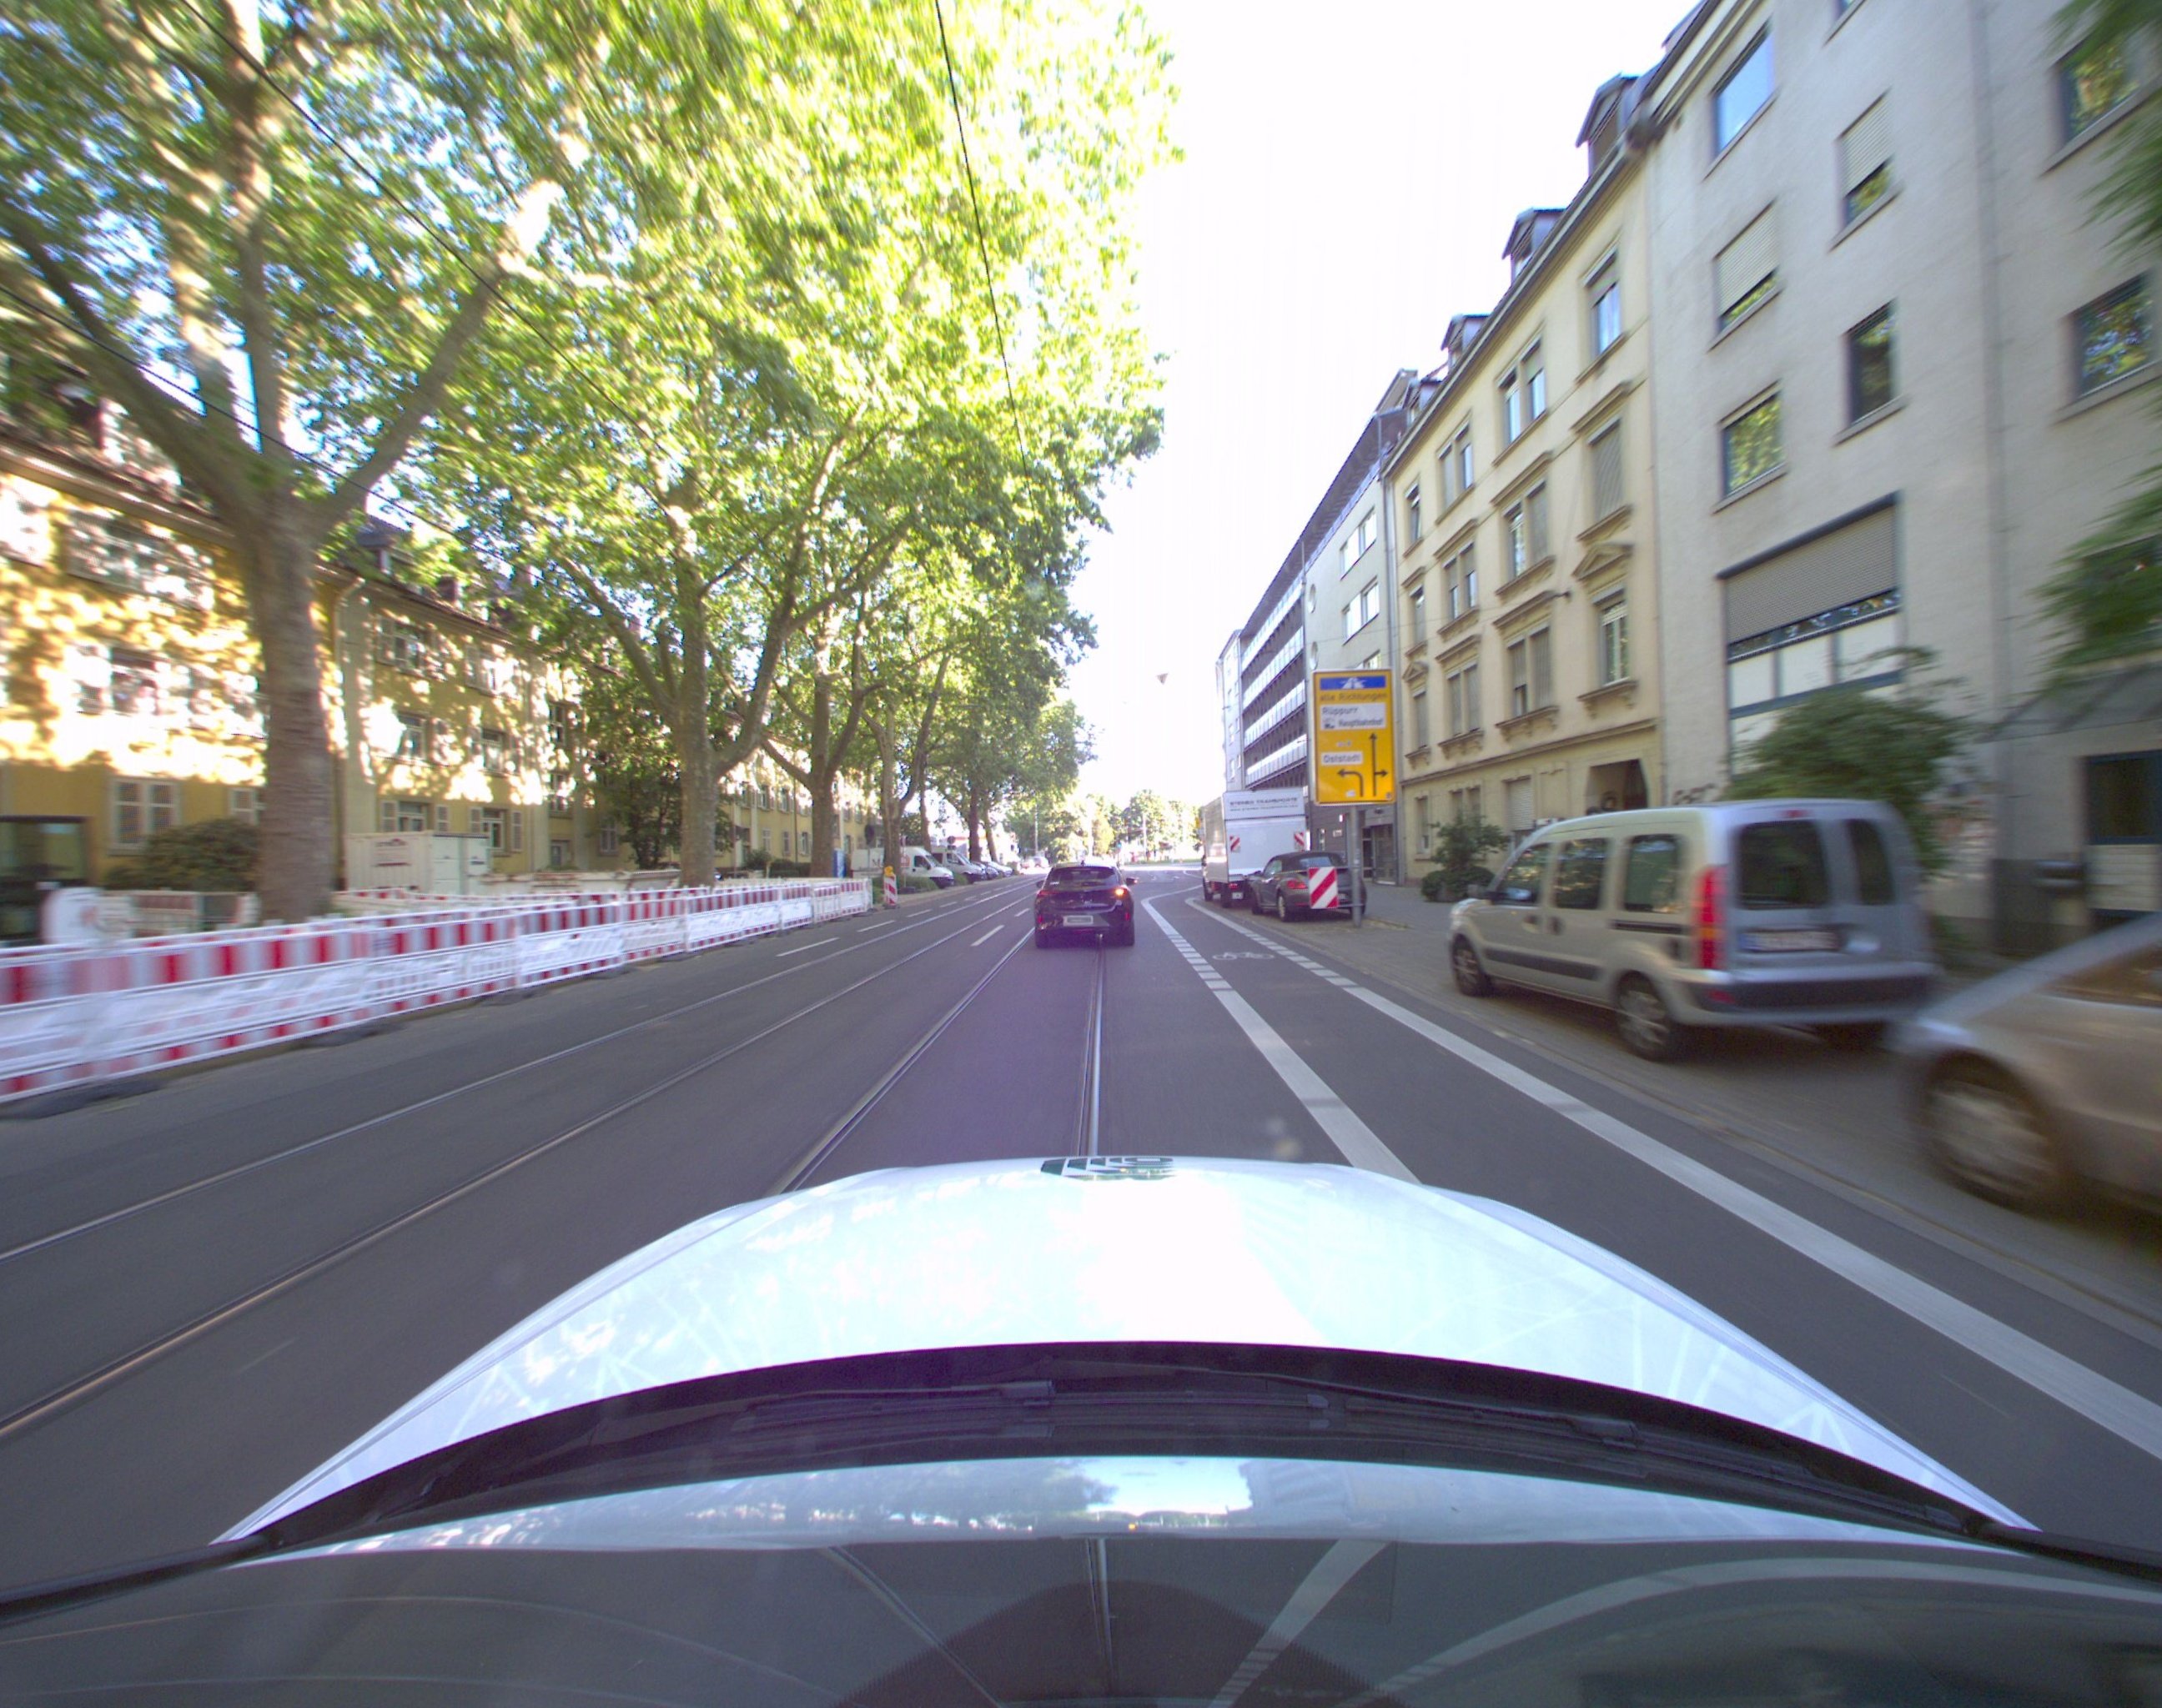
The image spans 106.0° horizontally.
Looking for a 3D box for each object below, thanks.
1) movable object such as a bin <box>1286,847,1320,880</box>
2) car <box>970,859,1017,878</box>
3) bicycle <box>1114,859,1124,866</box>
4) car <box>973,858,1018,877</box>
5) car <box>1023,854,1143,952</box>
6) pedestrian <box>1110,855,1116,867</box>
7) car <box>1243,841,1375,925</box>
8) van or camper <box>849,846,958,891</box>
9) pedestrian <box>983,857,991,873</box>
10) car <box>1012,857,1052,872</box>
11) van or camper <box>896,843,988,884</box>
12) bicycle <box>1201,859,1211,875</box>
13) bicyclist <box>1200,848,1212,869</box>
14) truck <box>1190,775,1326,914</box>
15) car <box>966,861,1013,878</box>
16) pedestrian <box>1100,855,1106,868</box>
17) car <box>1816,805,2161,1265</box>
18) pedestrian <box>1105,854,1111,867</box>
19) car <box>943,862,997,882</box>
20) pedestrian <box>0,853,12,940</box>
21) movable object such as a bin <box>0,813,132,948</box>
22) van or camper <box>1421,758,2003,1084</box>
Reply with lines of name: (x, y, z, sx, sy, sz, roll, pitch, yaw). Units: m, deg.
movable object such as a bin: (10.541, 0.440, 38.744, 1.182, 1.484, 1.596, -4, -1, 2)
car: (-8.270, 1.331, 77.294, 4.157, 1.671, 1.963, -2, 0, -2)
bicycle: (5.355, 1.153, 114.635, 0.782, 0.992, 2.254, -1, -1, 18)
car: (-8.391, 1.301, 79.818, 4.157, 1.671, 1.963, -2, 0, -2)
car: (0.185, 0.782, 14.799, 1.772, 1.496, 4.006, -1, 0, 6)
pedestrian: (4.809, 1.085, 122.843, 0.610, 1.853, 0.587, -1, -1, 35)
car: (4.982, 0.585, 18.378, 1.725, 1.557, 4.151, -4, 0, 0)
van or camper: (-9.895, 0.822, 45.589, 5.475, 2.379, 2.272, -1, -1, 5)
pedestrian: (-13.476, 1.575, 116.564, 0.824, 2.221, 0.890, 0, -1, -33)
car: (-6.385, 1.378, 105.563, 4.678, 1.695, 2.013, -4, 0, 31)
van or camper: (-9.339, 0.659, 54.918, 5.702, 2.644, 2.270, -1, -1, 2)
bicycle: (8.463, 0.882, 55.063, 0.504, 1.067, 1.570, -2, 0, 14)
bicyclist: (8.431, 0.300, 55.083, 0.701, 1.435, 0.705, -2, -1, 13)
truck: (4.948, -0.232, 24.224, 2.528, 3.338, 7.199, -4, 0, 2)
car: (-8.338, 1.424, 74.469, 3.971, 1.515, 1.651, -1, -1, 2)
pedestrian: (3.292, 1.096, 121.915, 0.610, 1.853, 0.587, -1, -1, 39)
car: (4.506, 0.593, 2.300, 1.653, 1.580, 3.591, -3, 0, 2)
pedestrian: (4.059, 1.041, 122.146, 0.651, 1.932, 0.613, -1, -1, 33)
car: (-8.811, 1.446, 64.557, 3.971, 1.515, 1.651, -1, -1, 2)
pedestrian: (-21.053, 0.827, 15.575, 0.663, 1.656, 0.677, -2, -1, 34)
movable object such as a bin: (-13.736, 0.336, 10.523, 1.093, 1.645, 1.560, -1, -1, 2)
van or camper: (4.705, 0.401, 7.035, 1.664, 1.883, 4.209, -3, 0, -1)
